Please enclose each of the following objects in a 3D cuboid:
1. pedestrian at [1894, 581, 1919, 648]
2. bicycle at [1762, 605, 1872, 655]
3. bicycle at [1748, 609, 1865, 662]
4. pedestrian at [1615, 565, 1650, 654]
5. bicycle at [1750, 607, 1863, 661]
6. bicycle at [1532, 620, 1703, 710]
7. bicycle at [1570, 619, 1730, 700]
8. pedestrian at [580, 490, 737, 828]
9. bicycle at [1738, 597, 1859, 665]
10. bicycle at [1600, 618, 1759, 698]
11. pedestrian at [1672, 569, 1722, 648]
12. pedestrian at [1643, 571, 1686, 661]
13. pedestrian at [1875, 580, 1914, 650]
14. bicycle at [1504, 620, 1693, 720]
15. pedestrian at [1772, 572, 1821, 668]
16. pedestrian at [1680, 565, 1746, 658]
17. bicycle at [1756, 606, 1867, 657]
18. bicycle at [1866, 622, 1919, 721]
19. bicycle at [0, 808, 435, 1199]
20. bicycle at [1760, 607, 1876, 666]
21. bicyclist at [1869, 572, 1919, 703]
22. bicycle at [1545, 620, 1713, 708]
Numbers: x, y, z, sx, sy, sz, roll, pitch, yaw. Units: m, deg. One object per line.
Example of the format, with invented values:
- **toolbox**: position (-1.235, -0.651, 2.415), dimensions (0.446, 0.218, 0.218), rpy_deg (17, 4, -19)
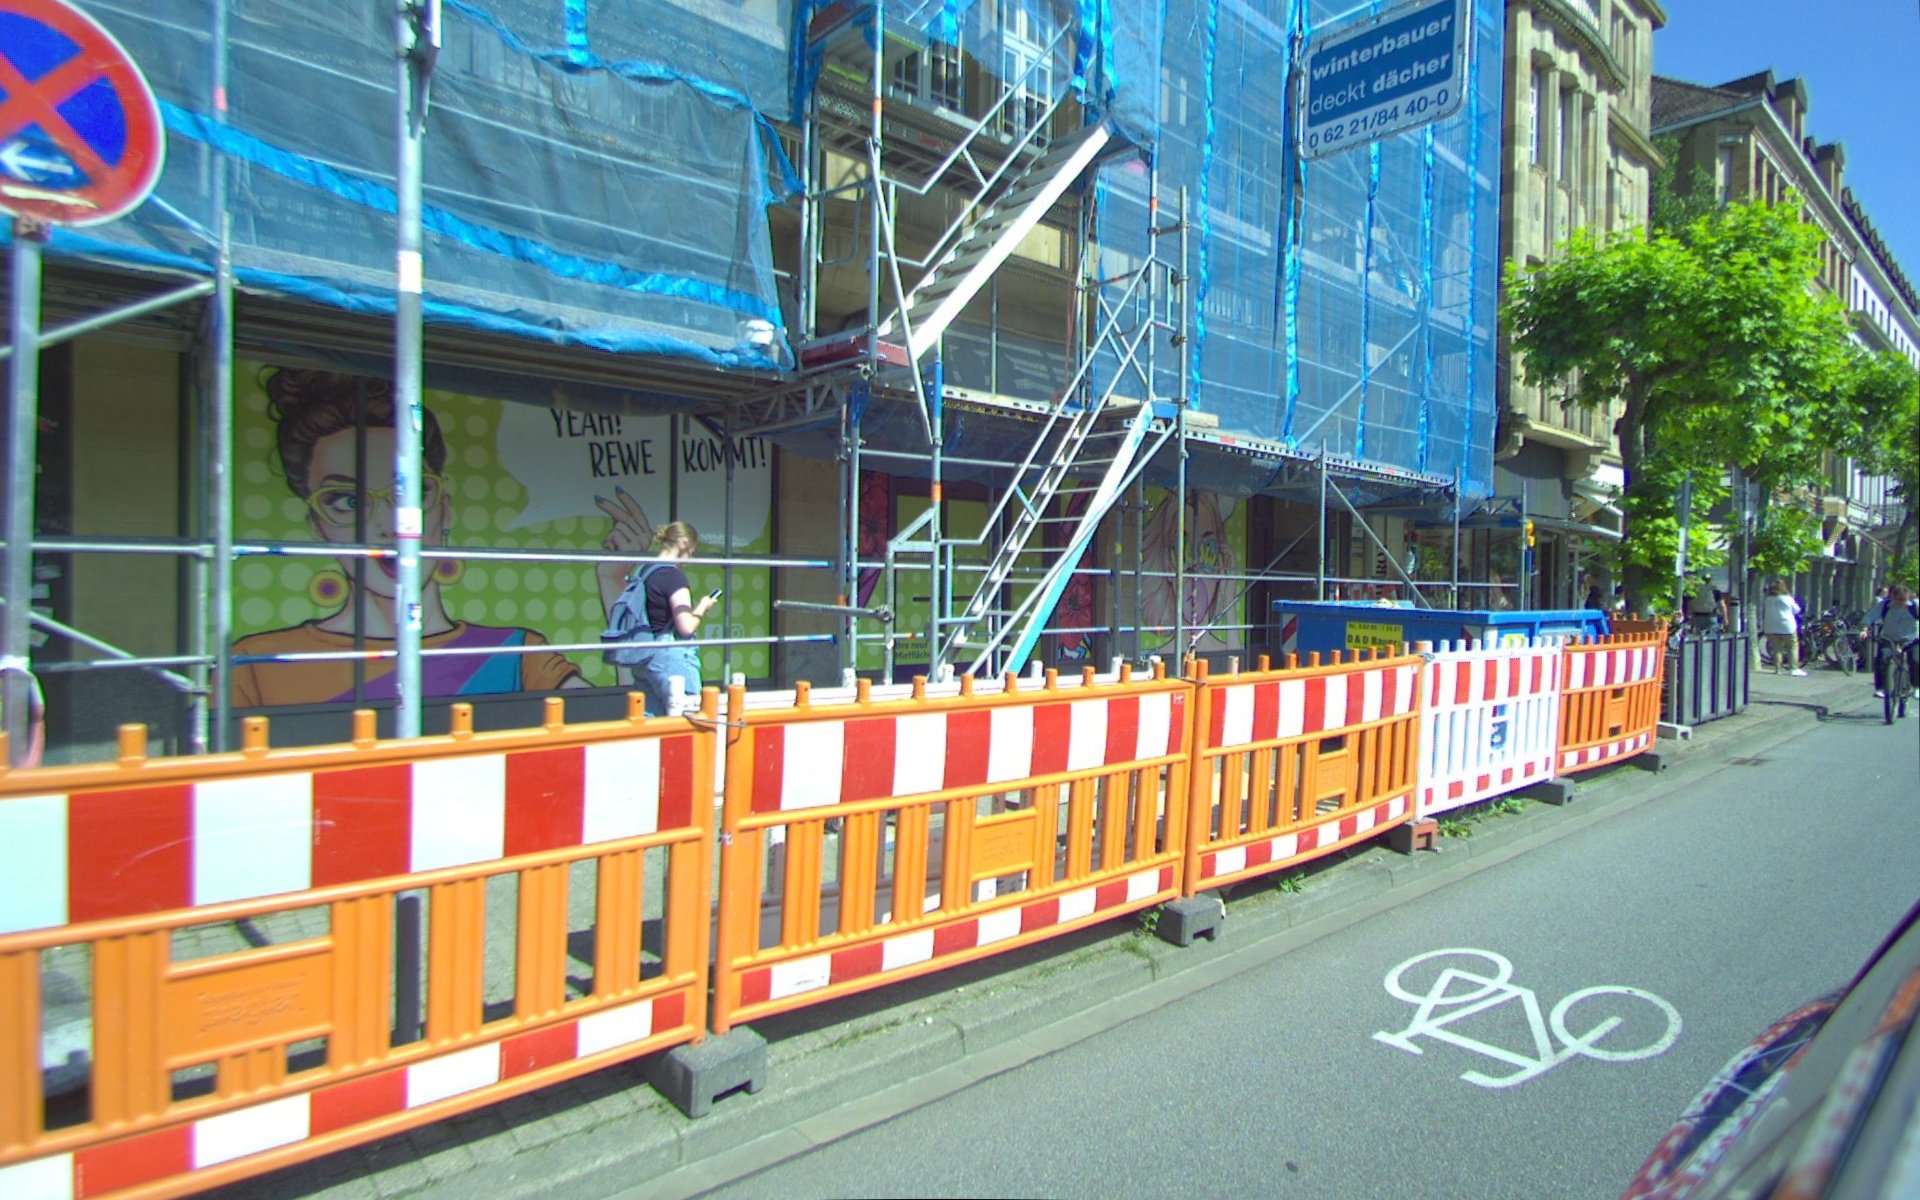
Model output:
- **pedestrian**: position (23.796, 0.353, 25.224), dimensions (0.694, 1.646, 0.692), rpy_deg (1, 1, 41)
- **bicycle**: position (18.535, 0.625, 21.919), dimensions (0.474, 1.031, 1.755), rpy_deg (-1, 0, -42)
- **bicycle**: position (17.207, 0.703, 20.605), dimensions (0.547, 1.031, 1.755), rpy_deg (-1, 0, -42)
- **pedestrian**: position (13.010, 0.181, 19.586), dimensions (0.470, 1.704, 0.380), rpy_deg (0, 1, 18)
- **bicycle**: position (17.628, 0.682, 21.099), dimensions (0.577, 1.031, 1.755), rpy_deg (-1, 1, -42)
- **bicycle**: position (8.289, 0.788, 12.825), dimensions (0.474, 1.031, 1.755), rpy_deg (-1, 0, -42)
- **bicycle**: position (9.360, 0.786, 13.802), dimensions (1.743, 1.031, 0.478), rpy_deg (-1, 0, 30)
- **pedestrian**: position (-1.746, 0.315, 5.843), dimensions (0.638, 1.799, 0.640), rpy_deg (-1, -2, -40)
- **bicycle**: position (16.735, 0.598, 20.231), dimensions (0.569, 1.195, 1.756), rpy_deg (-1, 4, -42)
- **bicycle**: position (10.113, 0.782, 14.276), dimensions (0.474, 1.031, 1.755), rpy_deg (-1, 0, -42)
- **pedestrian**: position (17.147, 0.187, 23.544), dimensions (0.966, 1.803, 0.670), rpy_deg (-1, 1, -36)
- **pedestrian**: position (13.521, 0.290, 19.433), dimensions (0.530, 1.703, 0.497), rpy_deg (1, 2, 18)
- **pedestrian**: position (22.595, 0.353, 24.482), dimensions (0.598, 1.646, 0.635), rpy_deg (3, 2, 41)
- **bicycle**: position (7.245, 0.758, 11.553), dimensions (0.474, 1.031, 1.755), rpy_deg (-1, 0, -42)
- **pedestrian**: position (15.146, 0.346, 18.339), dimensions (0.655, 1.704, 0.644), rpy_deg (-1, 1, 38)
- **pedestrian**: position (15.494, 0.212, 20.821), dimensions (0.874, 1.871, 0.817), rpy_deg (-1, 2, -33)
- **bicycle**: position (18.095, 0.658, 21.533), dimensions (0.474, 1.031, 1.755), rpy_deg (-1, 0, -42)
- **bicycle**: position (11.947, 0.859, 12.631), dimensions (1.865, 1.107, 0.735), rpy_deg (-1, -1, -42)
- **bicycle**: position (-1.670, 0.933, 0.837), dimensions (2.094, 1.107, 0.735), rpy_deg (-1, -1, -42)
- **bicycle**: position (16.102, 0.668, 19.054), dimensions (0.645, 1.031, 1.759), rpy_deg (-1, 0, -1)
- **bicyclist**: position (11.906, 0.455, 12.596), dimensions (0.765, 1.597, 0.749), rpy_deg (-1, -2, -41)
- **bicycle**: position (8.662, 0.799, 13.166), dimensions (0.474, 1.031, 1.755), rpy_deg (-1, 0, -42)
